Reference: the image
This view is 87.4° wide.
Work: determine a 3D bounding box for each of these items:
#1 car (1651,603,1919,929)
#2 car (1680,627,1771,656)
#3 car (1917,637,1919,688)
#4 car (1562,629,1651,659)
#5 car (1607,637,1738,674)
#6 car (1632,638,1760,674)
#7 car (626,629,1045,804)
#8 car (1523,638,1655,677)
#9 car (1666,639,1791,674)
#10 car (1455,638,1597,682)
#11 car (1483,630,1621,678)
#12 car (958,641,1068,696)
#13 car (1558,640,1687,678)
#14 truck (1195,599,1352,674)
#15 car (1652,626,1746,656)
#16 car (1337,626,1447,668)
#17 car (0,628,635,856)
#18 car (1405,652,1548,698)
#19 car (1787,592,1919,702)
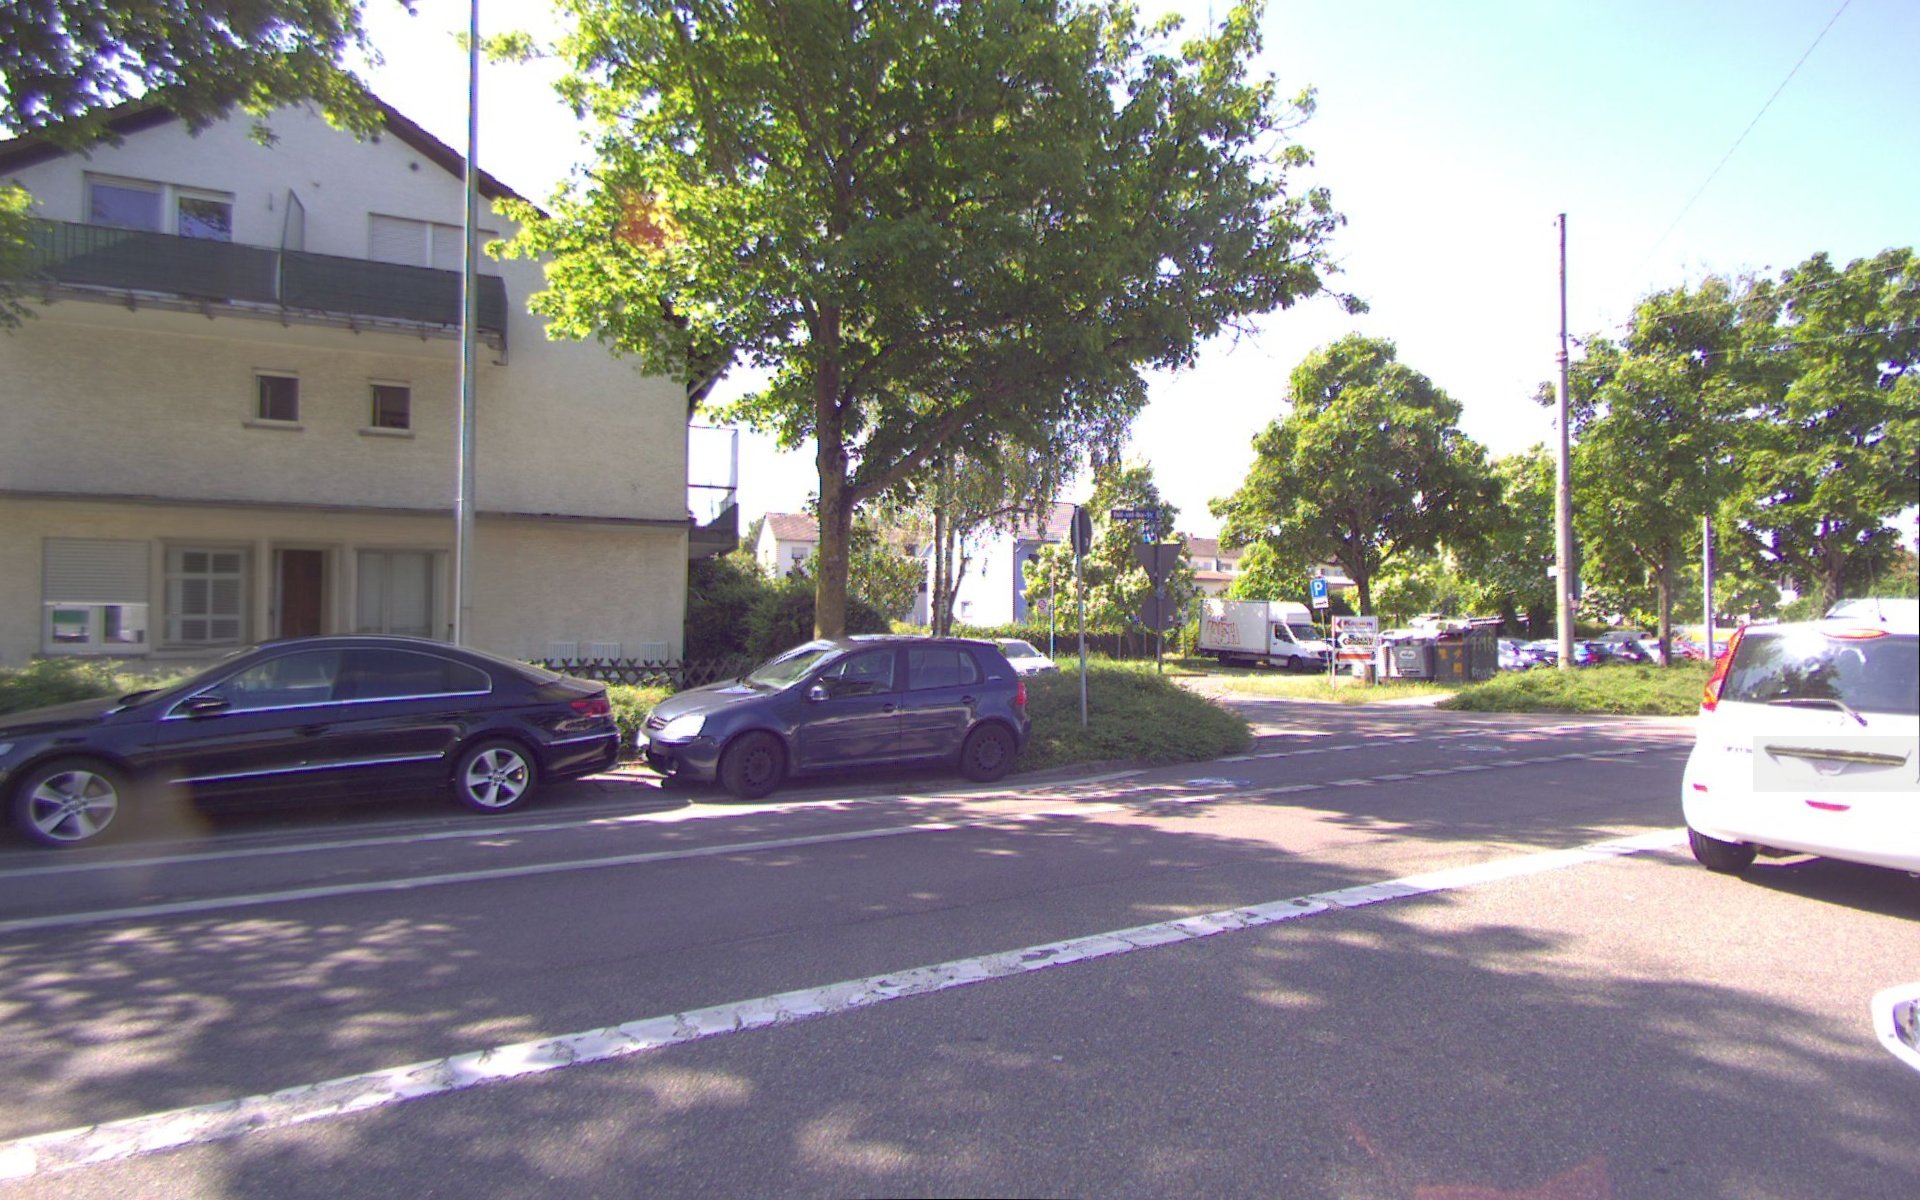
[{"bbox_3d":[6.402,0.843,6.263,4.491,1.568,1.655,1,-1,-29],"label":"car"},{"bbox_3d":[54.433,2.917,71.534,2.043,1.811,4.762,2,0,-34],"label":"car"},{"bbox_3d":[29.412,1.826,28.748,4.230,1.434,1.854,1,0,-31],"label":"car"},{"bbox_3d":[44.526,3.000,69.286,2.043,1.811,4.762,2,0,-34],"label":"car"},{"bbox_3d":[28.838,2.251,40.774,1.712,1.434,3.964,2,-4,-33],"label":"car"},{"bbox_3d":[30.749,2.341,42.074,1.712,1.434,3.964,2,-4,-33],"label":"car"},{"bbox_3d":[-1.266,1.080,10.474,3.988,1.462,1.718,1,0,-28],"label":"car"},{"bbox_3d":[24.142,2.218,38.680,1.712,1.434,3.964,2,-4,-33],"label":"car"},{"bbox_3d":[33.171,2.454,43.444,1.712,1.434,3.964,2,-4,-33],"label":"car"},{"bbox_3d":[19.694,2.081,35.108,1.712,1.434,3.964,2,-4,-33],"label":"car"},{"bbox_3d":[21.422,1.978,36.499,1.712,1.631,3.964,2,-4,-33],"label":"car"},{"bbox_3d":[1.419,1.927,28.433,1.704,1.434,3.983,1,-3,-20],"label":"car"},{"bbox_3d":[26.359,2.336,40.086,1.712,1.434,3.964,2,-4,-33],"label":"car"},{"bbox_3d":[14.438,1.593,46.838,2.646,3.151,6.967,1,0,-30],"label":"truck"},{"bbox_3d":[50.497,2.783,68.759,2.043,1.811,4.762,2,0,-34],"label":"car"},{"bbox_3d":[21.719,2.333,50.713,2.043,1.811,4.762,2,0,-34],"label":"car"},{"bbox_3d":[-5.251,0.998,8.353,4.568,1.434,1.854,1,0,-31],"label":"car"},{"bbox_3d":[17.330,2.495,33.890,1.712,1.434,3.964,2,-4,-33],"label":"car"},{"bbox_3d":[23.956,1.151,25.852,5.745,2.550,2.114,1,0,-29],"label":"car"}]
